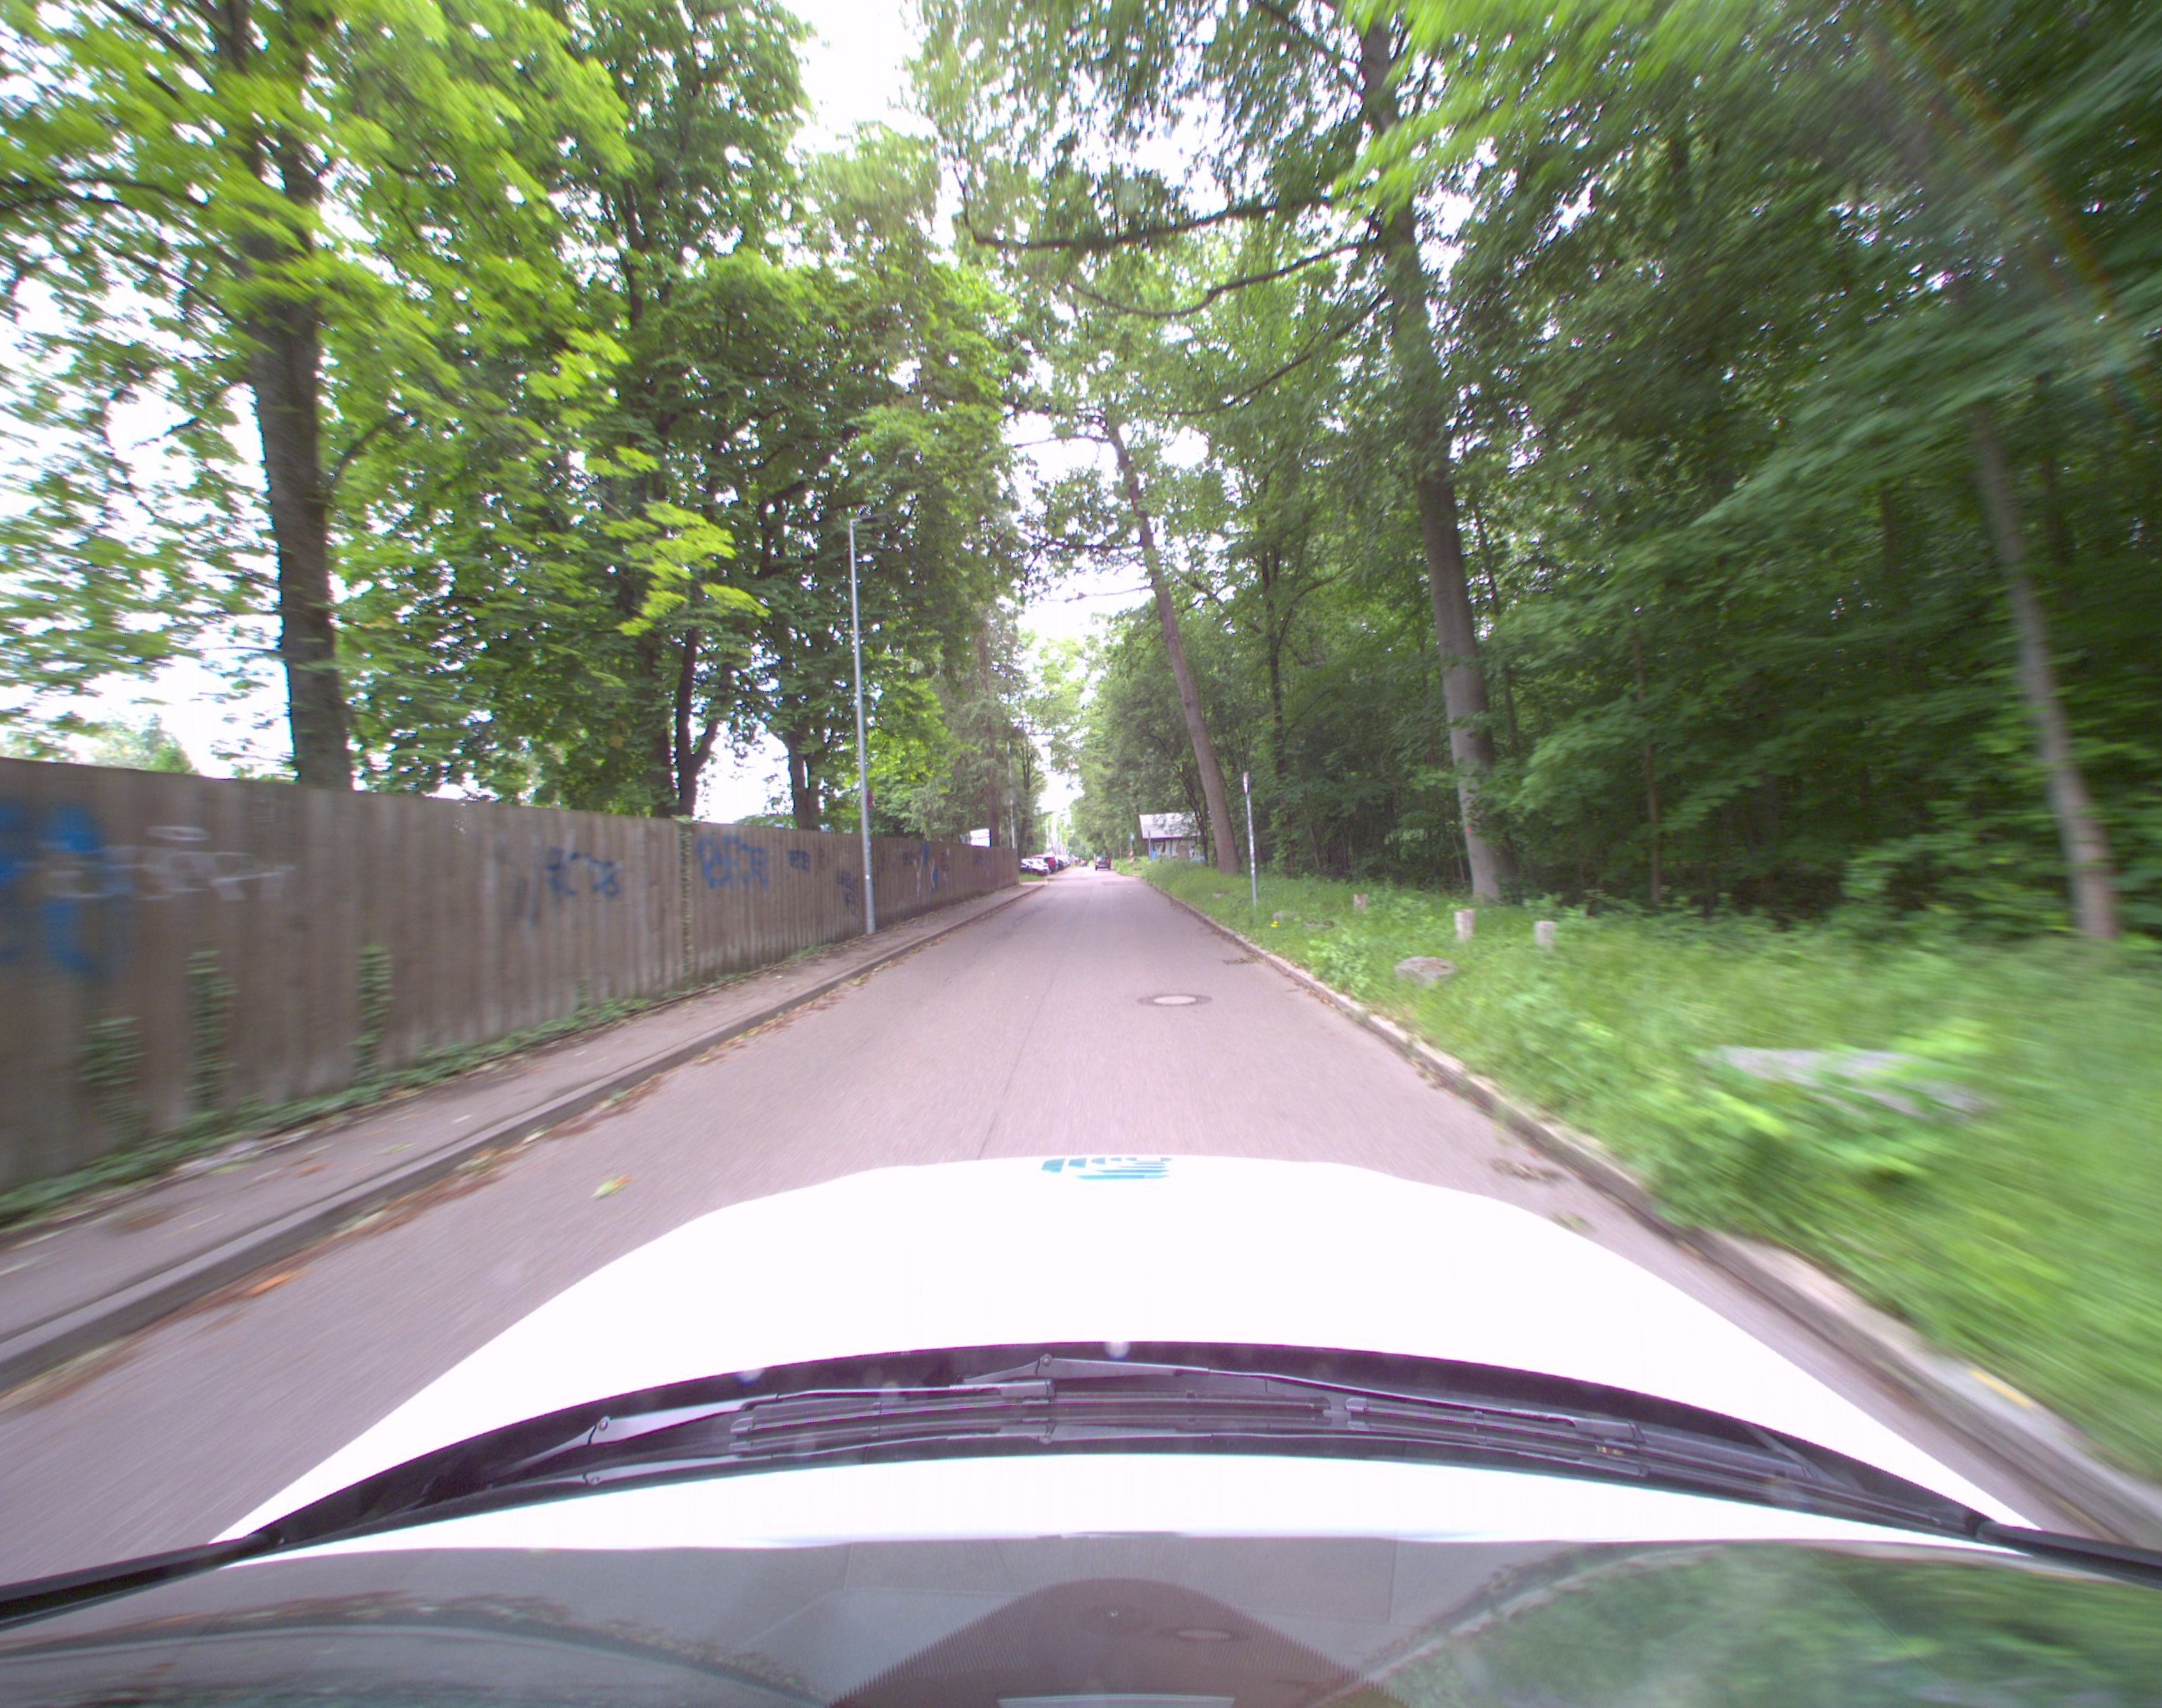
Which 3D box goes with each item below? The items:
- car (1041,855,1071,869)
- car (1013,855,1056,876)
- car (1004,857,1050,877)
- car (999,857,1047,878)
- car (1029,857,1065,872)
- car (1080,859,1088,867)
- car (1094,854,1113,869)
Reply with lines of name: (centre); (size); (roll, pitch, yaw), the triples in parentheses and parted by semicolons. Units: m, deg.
car: (-3.452, 1.106, 112.840); (3.973, 1.596, 1.765); (-5, -1, 1)
car: (-4.450, 1.058, 78.068); (3.977, 1.750, 1.998); (-4, 0, -3)
car: (-4.833, 1.142, 72.993); (3.977, 1.574, 1.998); (-4, 0, -3)
car: (-4.925, 1.140, 69.903); (3.977, 1.574, 1.998); (-4, 0, -3)
car: (-3.589, 1.101, 86.689); (3.559, 1.407, 1.650); (-4, -1, 1)
car: (0.793, 2.534, 230.444); (1.990, 2.013, 3.994); (-4, 0, -4)
car: (2.445, 0.816, 86.775); (1.900, 1.508, 4.002); (-1, -1, 3)
